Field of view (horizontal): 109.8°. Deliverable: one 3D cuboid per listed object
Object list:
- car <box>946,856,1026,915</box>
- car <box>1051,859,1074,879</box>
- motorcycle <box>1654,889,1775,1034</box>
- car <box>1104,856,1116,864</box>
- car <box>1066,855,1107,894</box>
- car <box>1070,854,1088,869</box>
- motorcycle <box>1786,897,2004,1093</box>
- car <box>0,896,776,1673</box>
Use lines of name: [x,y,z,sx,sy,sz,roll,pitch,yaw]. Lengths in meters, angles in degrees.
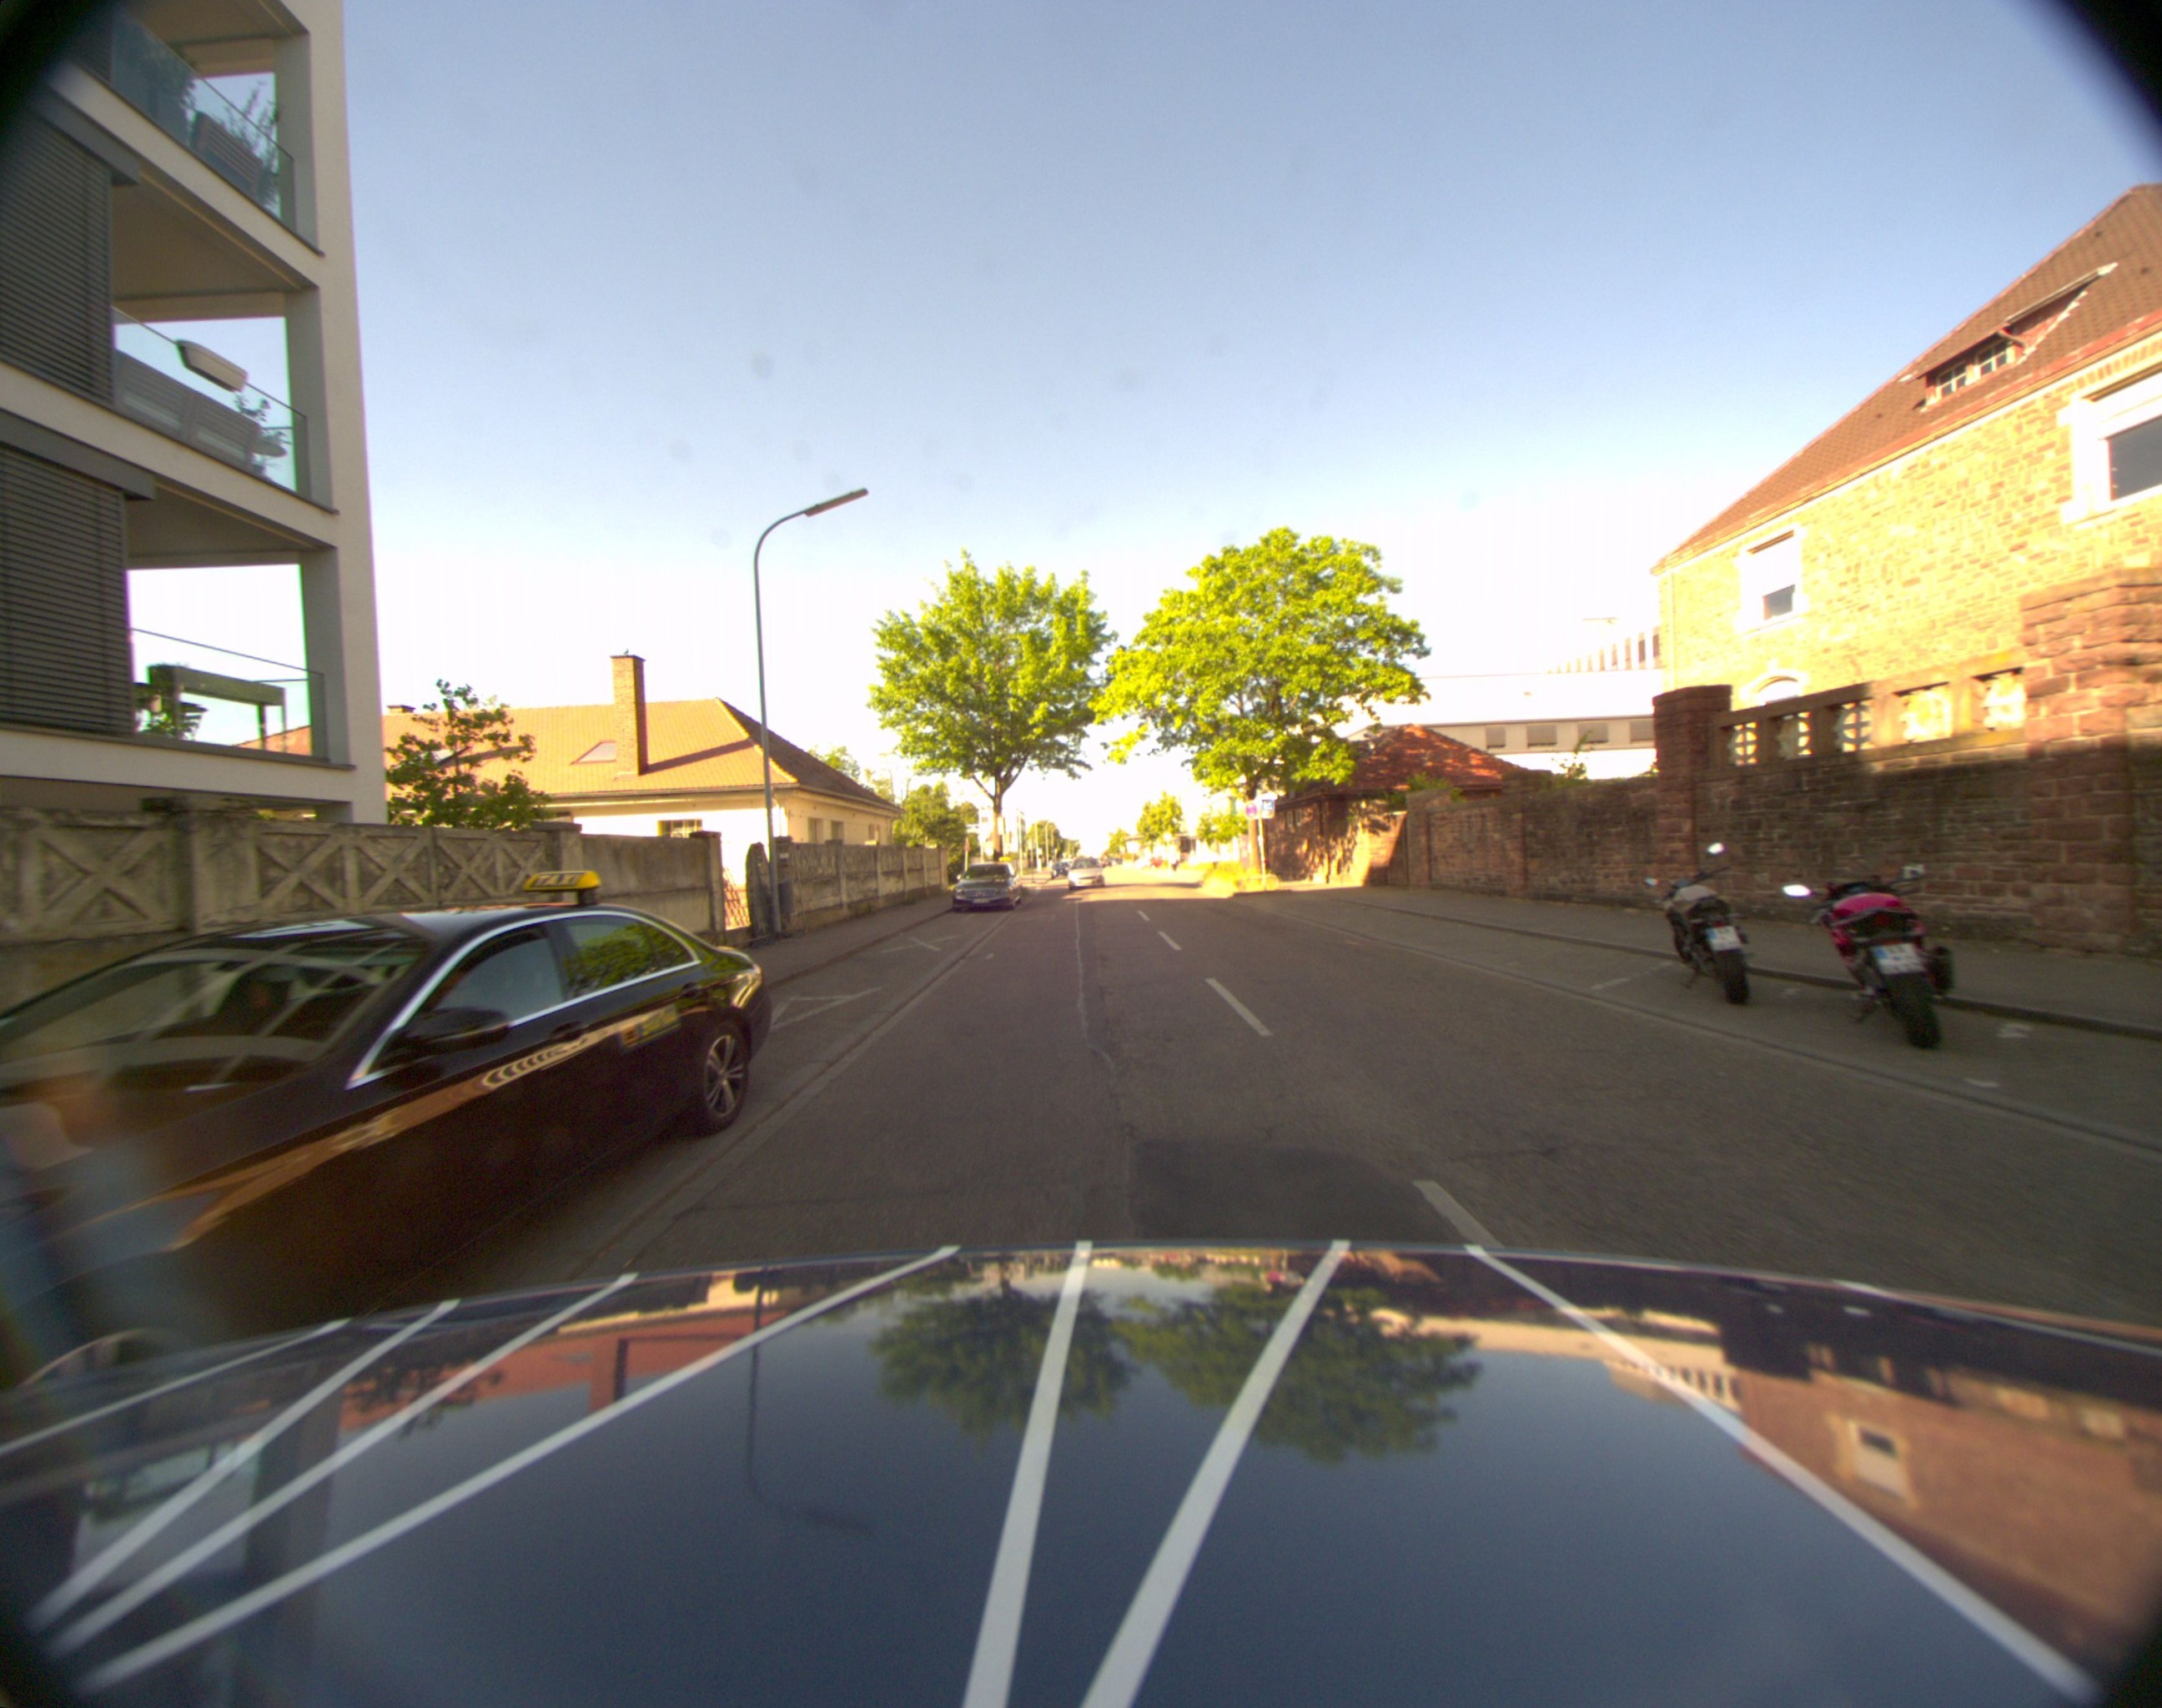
car: [-2.935,0.928,24.331,1.887,1.592,4.298,-4,0,1]
car: [-1.519,1.245,63.511,1.757,1.459,3.485,-4,0,-1]
motorcycle: [5.913,0.925,7.185,0.530,1.033,2.094,-4,0,32]
car: [5.381,1.101,139.449,1.998,1.406,4.000,-4,0,1]
car: [0.300,0.914,36.349,1.748,1.613,4.106,-4,0,1]
car: [-0.208,0.867,90.441,1.998,1.668,4.000,-3,0,1]
motorcycle: [5.920,0.926,5.665,0.530,1.033,2.094,-4,0,32]
car: [-3.067,1.014,2.961,1.724,1.402,4.763,-3,0,1]
